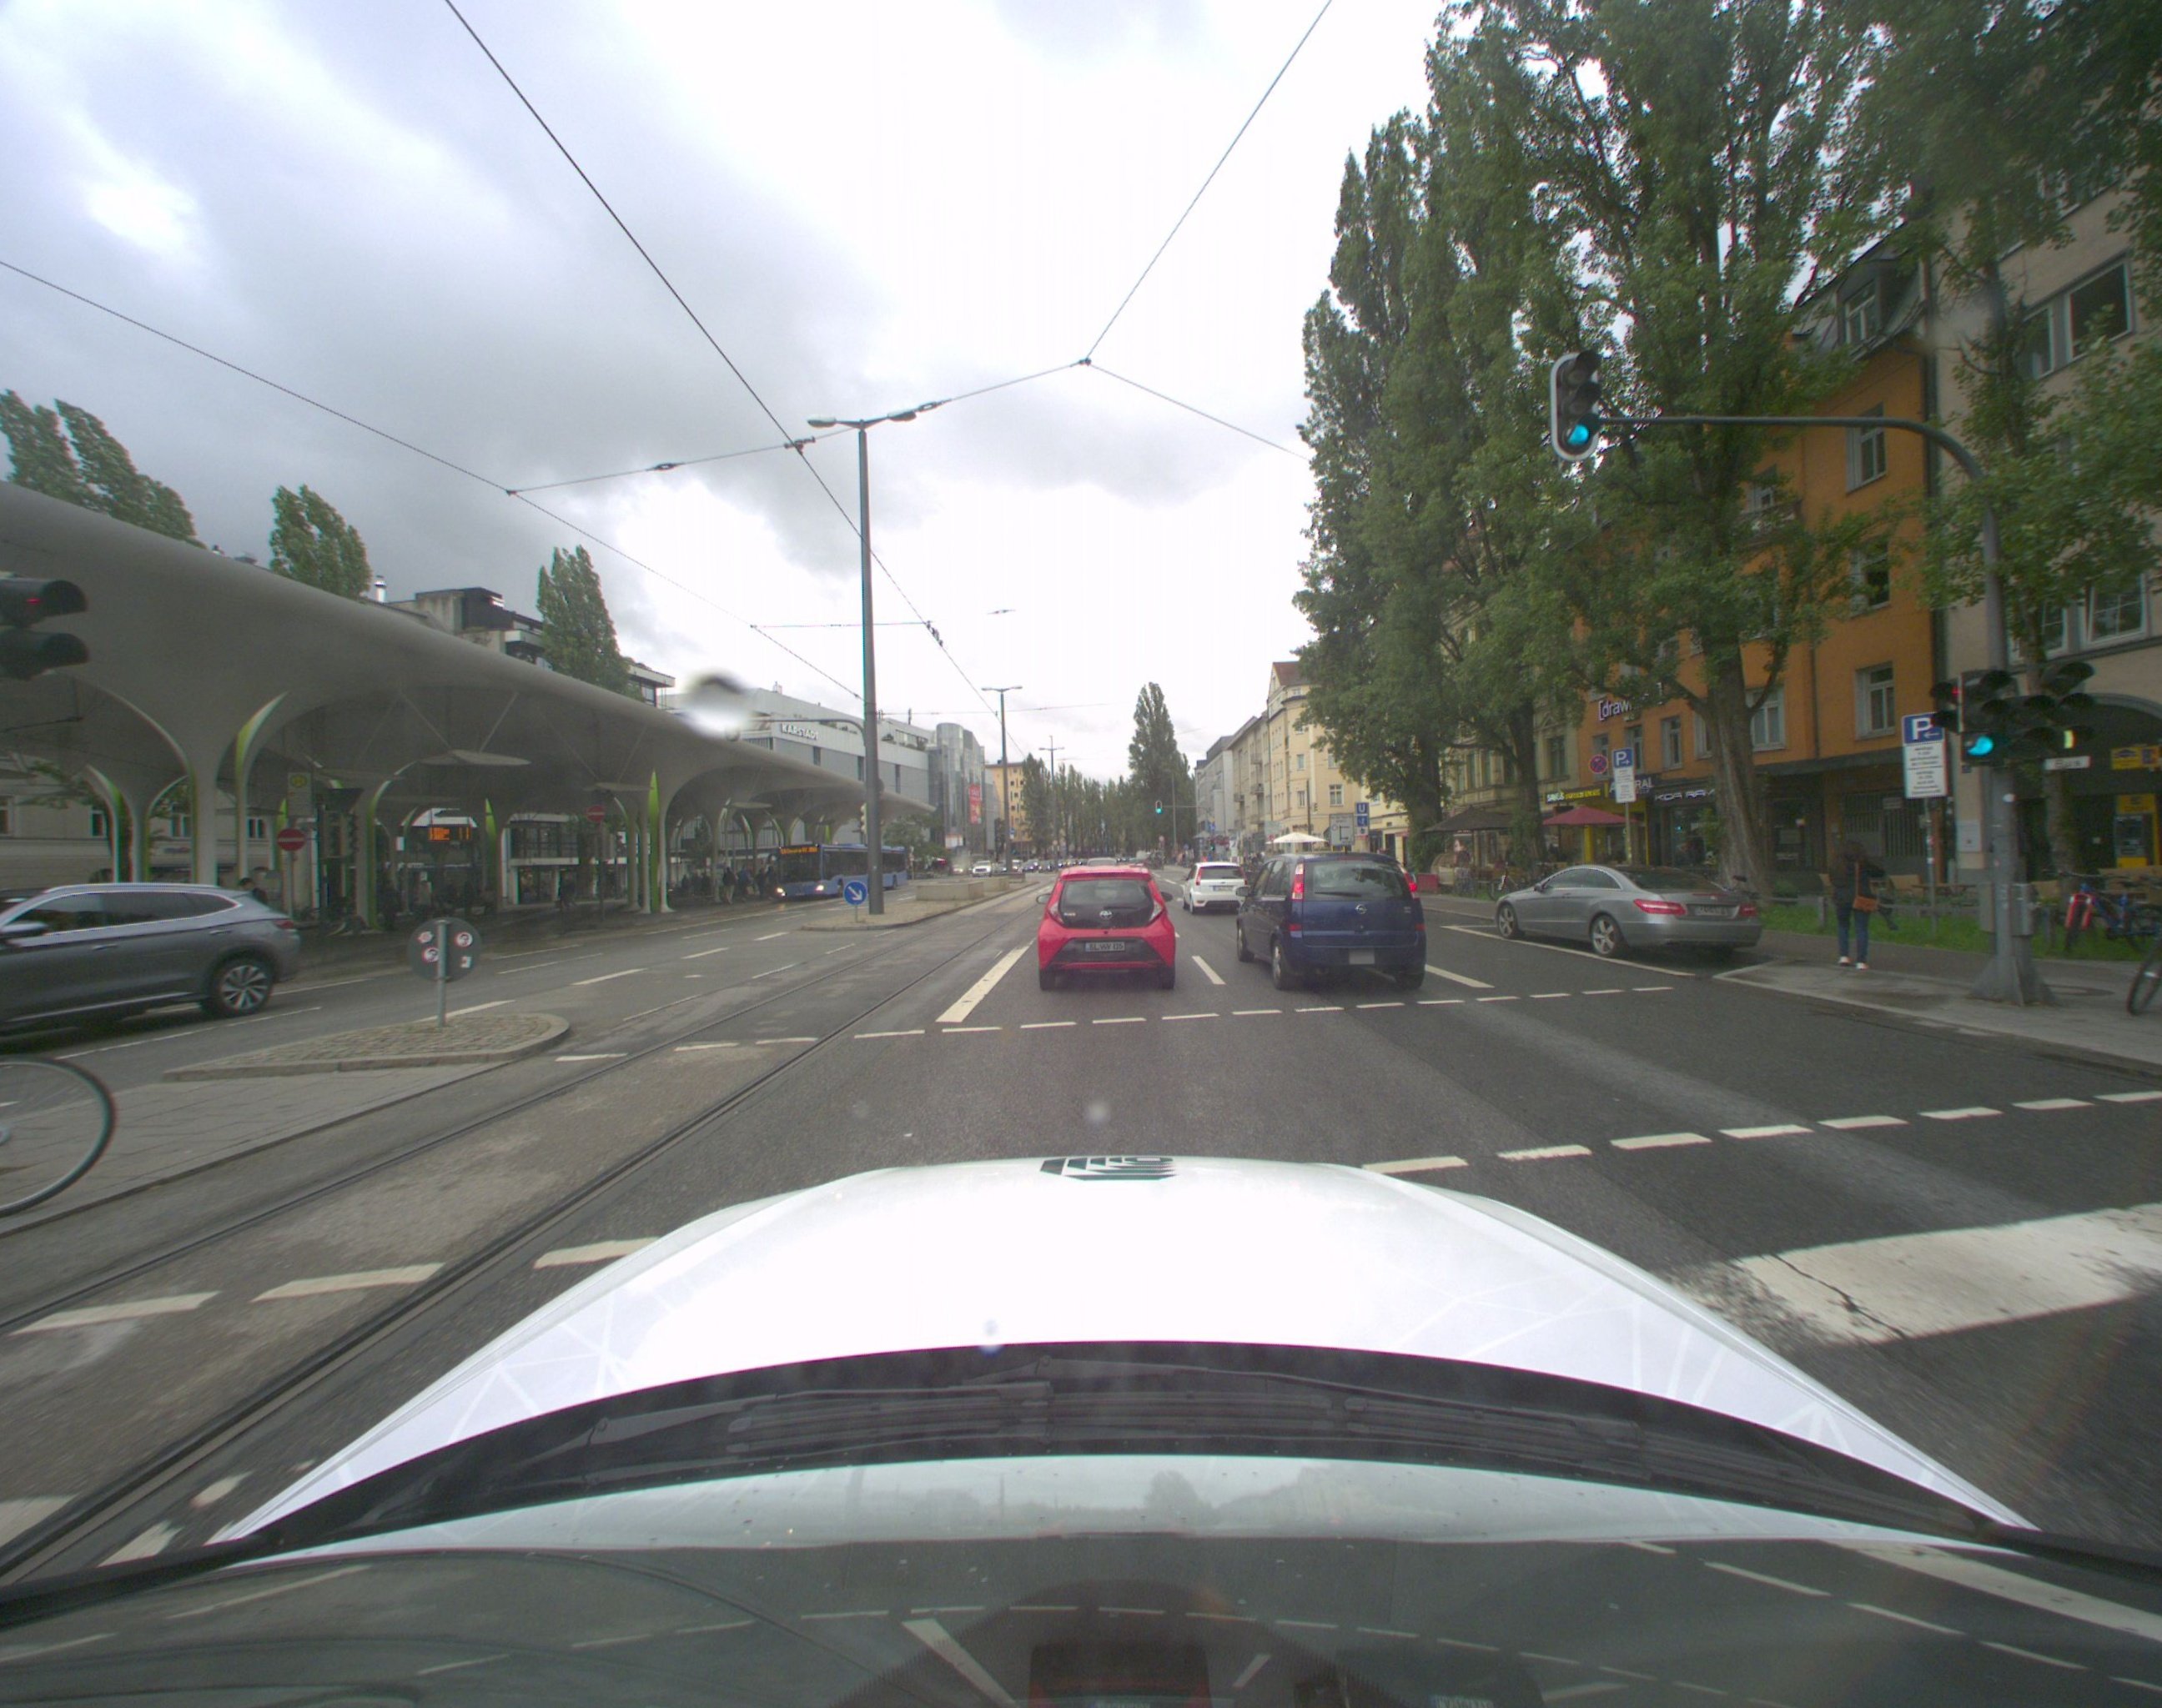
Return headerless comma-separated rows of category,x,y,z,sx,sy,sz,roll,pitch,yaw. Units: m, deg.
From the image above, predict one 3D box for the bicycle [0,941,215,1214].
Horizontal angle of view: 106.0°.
bicycle,-5.452,1.042,3.544,2.240,1.150,0.501,0,-1,-34

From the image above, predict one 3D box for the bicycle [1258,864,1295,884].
bicycle,9.741,0.990,40.658,1.818,0.995,0.327,-1,1,38

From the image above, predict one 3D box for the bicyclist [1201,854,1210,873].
bicyclist,11.213,0.861,73.622,0.611,1.657,1.252,-2,0,3

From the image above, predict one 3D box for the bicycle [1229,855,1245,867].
bicycle,16.080,0.731,84.028,1.561,1.160,0.525,-3,1,4

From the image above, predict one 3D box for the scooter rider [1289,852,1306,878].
scooter rider,11.800,0.597,44.387,0.698,1.389,0.643,-2,-1,0

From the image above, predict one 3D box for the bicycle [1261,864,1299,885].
bicycle,9.760,0.986,39.889,1.818,0.995,0.327,-1,1,38

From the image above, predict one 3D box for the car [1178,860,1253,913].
car,3.844,0.894,23.780,1.693,1.426,3.498,-1,0,1

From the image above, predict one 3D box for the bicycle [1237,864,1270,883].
bicycle,9.680,1.083,45.778,1.818,0.996,0.350,-3,-1,42

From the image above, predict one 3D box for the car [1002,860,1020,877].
car,-8.200,1.702,95.849,1.780,1.855,4.217,-3,0,-1

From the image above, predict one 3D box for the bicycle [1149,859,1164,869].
bicycle,9.331,1.225,100.091,1.781,1.158,0.551,-2,0,40

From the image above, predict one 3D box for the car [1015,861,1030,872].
car,-7.904,1.621,110.776,1.672,1.395,4.232,-2,0,0

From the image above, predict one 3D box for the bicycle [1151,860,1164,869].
bicycle,9.238,1.311,98.037,0.502,1.028,1.582,-2,0,-40

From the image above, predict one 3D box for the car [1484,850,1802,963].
car,8.674,0.715,13.206,1.987,1.440,4.528,-2,0,0

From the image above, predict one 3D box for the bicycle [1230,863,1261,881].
bicycle,9.767,1.095,48.494,1.818,0.996,0.350,-3,-1,41

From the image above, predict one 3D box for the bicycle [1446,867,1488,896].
bicycle,12.452,0.867,26.350,0.455,0.892,1.894,-2,0,1

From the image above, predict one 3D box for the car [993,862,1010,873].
car,-10.375,1.776,106.229,1.667,1.378,4.613,-2,0,0

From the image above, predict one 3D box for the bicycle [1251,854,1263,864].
bicycle,19.124,0.581,88.627,0.495,1.059,1.858,-2,0,-13

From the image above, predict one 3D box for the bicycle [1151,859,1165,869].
bicycle,9.339,1.223,98.696,0.562,1.198,1.782,-2,0,-45

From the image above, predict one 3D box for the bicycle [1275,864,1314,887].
bicycle,9.668,0.972,36.885,0.327,0.995,1.820,-2,1,-41

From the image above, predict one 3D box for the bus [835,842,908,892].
bus,-14.168,0.869,55.698,2.651,3.007,7.515,-4,0,1

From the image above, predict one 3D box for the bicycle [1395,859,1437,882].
bicycle,15.325,0.753,37.298,1.711,1.045,0.389,-1,1,12

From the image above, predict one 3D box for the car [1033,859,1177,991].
car,0.351,0.815,10.734,1.598,1.461,3.132,-1,0,3

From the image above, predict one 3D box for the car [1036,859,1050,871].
car,-4.943,1.404,105.221,1.543,1.445,3.532,-2,0,-5

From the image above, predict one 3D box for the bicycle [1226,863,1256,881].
bicycle,9.697,1.099,49.304,1.818,0.996,0.350,-3,-1,41

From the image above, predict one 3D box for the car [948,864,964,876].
car,-16.971,2.173,110.556,1.994,1.536,4.398,-3,0,-10

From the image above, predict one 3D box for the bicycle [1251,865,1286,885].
bicycle,9.572,1.064,41.613,0.327,0.995,1.819,-2,1,-44

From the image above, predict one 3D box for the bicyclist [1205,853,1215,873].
bicyclist,12.290,0.829,77.867,0.759,1.870,1.133,-2,0,2

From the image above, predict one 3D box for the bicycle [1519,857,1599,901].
bicycle,13.707,0.713,23.389,1.879,1.174,0.582,-2,-1,3

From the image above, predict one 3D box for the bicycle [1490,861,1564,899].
bicycle,13.236,0.761,24.198,1.879,1.054,0.459,-2,-1,3

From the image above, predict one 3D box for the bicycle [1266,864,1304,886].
bicycle,9.636,0.980,38.576,1.819,0.995,0.327,0,1,44

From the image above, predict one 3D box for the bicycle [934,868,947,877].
bicycle,-17.499,2.278,101.633,1.566,1.112,0.374,-2,0,5

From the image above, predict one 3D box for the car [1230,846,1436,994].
car,3.053,0.729,10.611,1.696,1.589,3.558,-1,0,2

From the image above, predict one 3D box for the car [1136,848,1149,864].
car,10.855,0.412,144.408,2.098,2.718,4.807,-2,0,3

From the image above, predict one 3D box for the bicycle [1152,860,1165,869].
bicycle,9.284,1.309,97.180,0.502,1.028,1.582,-2,0,-40

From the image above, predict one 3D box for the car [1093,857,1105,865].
car,4.154,1.661,188.916,1.982,1.691,4.934,3,1,10

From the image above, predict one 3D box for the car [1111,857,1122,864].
car,9.284,1.656,213.699,1.978,1.728,3.933,-2,0,16

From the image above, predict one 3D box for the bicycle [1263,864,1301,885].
bicycle,9.678,0.984,39.287,1.818,0.995,0.327,-1,1,38

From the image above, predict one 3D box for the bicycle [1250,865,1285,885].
bicycle,9.658,1.067,42.305,1.819,0.995,0.327,0,1,42

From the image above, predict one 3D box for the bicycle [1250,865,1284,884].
bicycle,9.790,1.070,42.879,1.819,0.995,0.327,0,1,42

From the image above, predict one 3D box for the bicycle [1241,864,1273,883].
bicycle,9.565,1.076,44.340,0.327,0.996,1.819,-2,-1,-44

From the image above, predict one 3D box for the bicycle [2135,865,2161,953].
bicycle,14.612,0.680,10.332,1.790,1.109,0.447,-1,0,3

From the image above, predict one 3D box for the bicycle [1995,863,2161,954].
bicycle,12.801,0.680,10.356,1.790,1.109,0.447,0,0,3

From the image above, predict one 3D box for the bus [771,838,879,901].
bus,-14.303,0.820,46.621,2.652,3.007,10.513,-4,0,0

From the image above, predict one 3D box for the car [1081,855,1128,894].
car,1.091,0.896,37.467,1.986,1.618,4.001,-2,0,1

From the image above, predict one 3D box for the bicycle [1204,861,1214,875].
bicycle,12.263,1.299,77.914,0.611,1.265,2.521,-2,0,3

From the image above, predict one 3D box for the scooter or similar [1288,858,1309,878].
scooter or similar,11.848,0.749,44.383,0.773,1.075,1.256,-2,0,0

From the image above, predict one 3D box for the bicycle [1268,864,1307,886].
bicycle,9.596,0.977,37.924,1.819,0.995,0.327,0,1,44

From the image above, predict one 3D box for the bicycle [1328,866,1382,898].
bicycle,9.233,0.930,27.498,0.377,0.995,1.821,-2,1,-37

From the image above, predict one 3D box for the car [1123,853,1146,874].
car,5.084,0.891,78.106,1.986,1.838,4.002,-2,0,2

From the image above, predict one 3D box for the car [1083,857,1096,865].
car,1.930,1.525,179.674,1.980,1.534,4.602,-2,0,12

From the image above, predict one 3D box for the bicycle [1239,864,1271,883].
bicycle,9.634,1.080,45.113,0.350,0.996,1.819,-2,-1,-44

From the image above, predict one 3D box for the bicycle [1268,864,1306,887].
bicycle,9.472,0.975,37.484,0.327,0.995,1.820,-2,1,-42

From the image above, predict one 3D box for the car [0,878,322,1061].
car,-11.082,1.189,8.494,1.857,1.638,4.677,-4,0,0

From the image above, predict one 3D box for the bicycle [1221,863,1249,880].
bicycle,9.813,1.111,51.994,1.819,0.996,0.350,-4,-1,45

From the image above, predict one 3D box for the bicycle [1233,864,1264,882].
bicycle,9.684,1.089,47.185,0.350,0.996,1.819,-2,-1,-45

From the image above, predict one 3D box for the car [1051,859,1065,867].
car,-4.075,1.580,144.554,1.984,1.412,4.173,-1,0,5

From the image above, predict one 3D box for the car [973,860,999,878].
car,-10.720,1.665,92.422,2.168,1.887,6.155,-2,0,0

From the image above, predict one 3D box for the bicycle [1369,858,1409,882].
bicycle,14.439,0.757,38.174,1.719,1.045,0.387,-1,1,-5

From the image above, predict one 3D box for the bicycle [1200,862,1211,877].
bicycle,11.238,1.376,73.617,0.611,1.265,2.521,-2,0,3
